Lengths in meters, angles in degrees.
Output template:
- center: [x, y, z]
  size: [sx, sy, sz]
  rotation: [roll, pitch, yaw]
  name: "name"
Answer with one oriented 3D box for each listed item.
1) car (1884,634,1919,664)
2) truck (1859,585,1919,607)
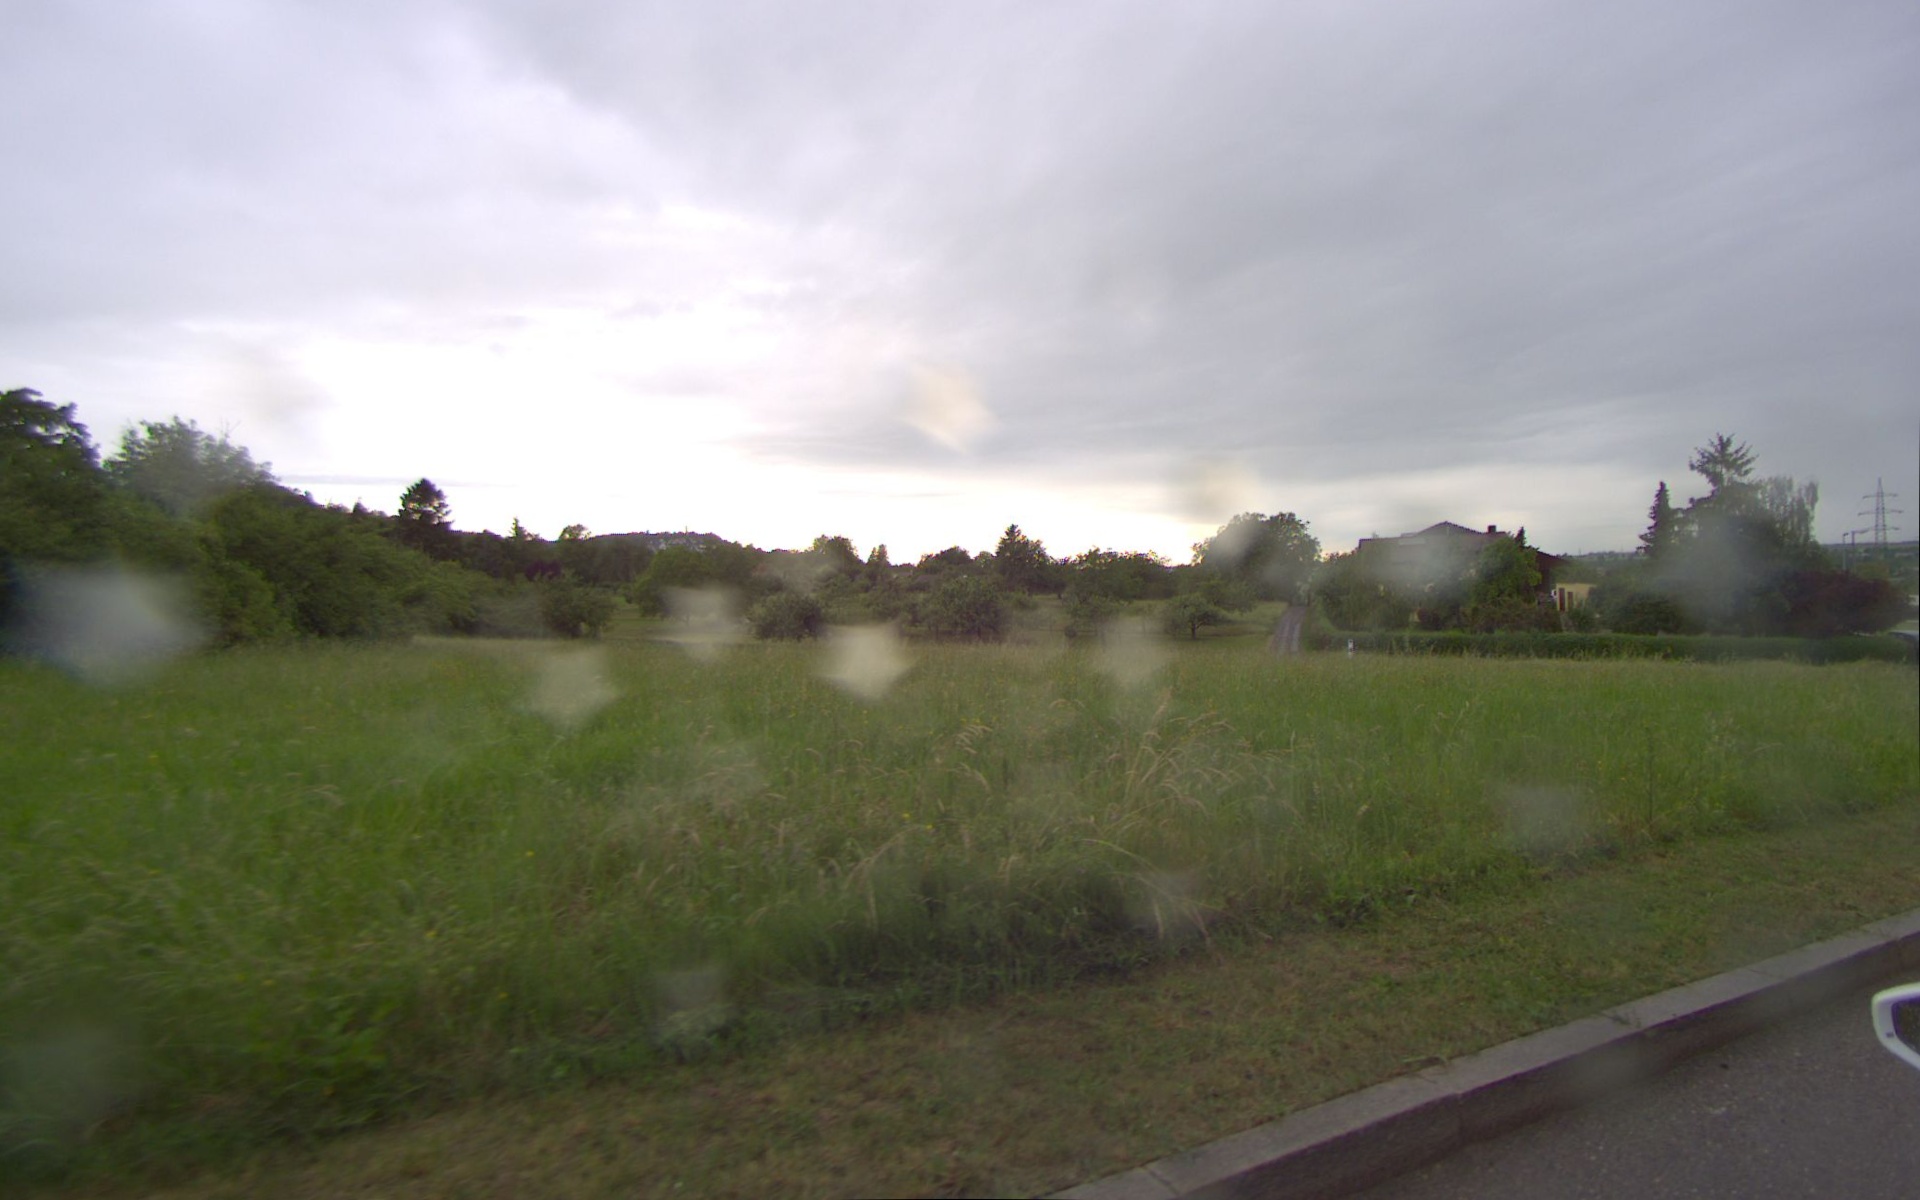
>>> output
- center: [58.927, 2.991, 61.652]
  size: [1.746, 1.618, 4.001]
  rotation: [0, 0, 17]
  name: "car"
- center: [111.043, -0.487, 119.764]
  size: [5.227, 2.340, 2.433]
  rotation: [1, 3, 24]
  name: "truck"
